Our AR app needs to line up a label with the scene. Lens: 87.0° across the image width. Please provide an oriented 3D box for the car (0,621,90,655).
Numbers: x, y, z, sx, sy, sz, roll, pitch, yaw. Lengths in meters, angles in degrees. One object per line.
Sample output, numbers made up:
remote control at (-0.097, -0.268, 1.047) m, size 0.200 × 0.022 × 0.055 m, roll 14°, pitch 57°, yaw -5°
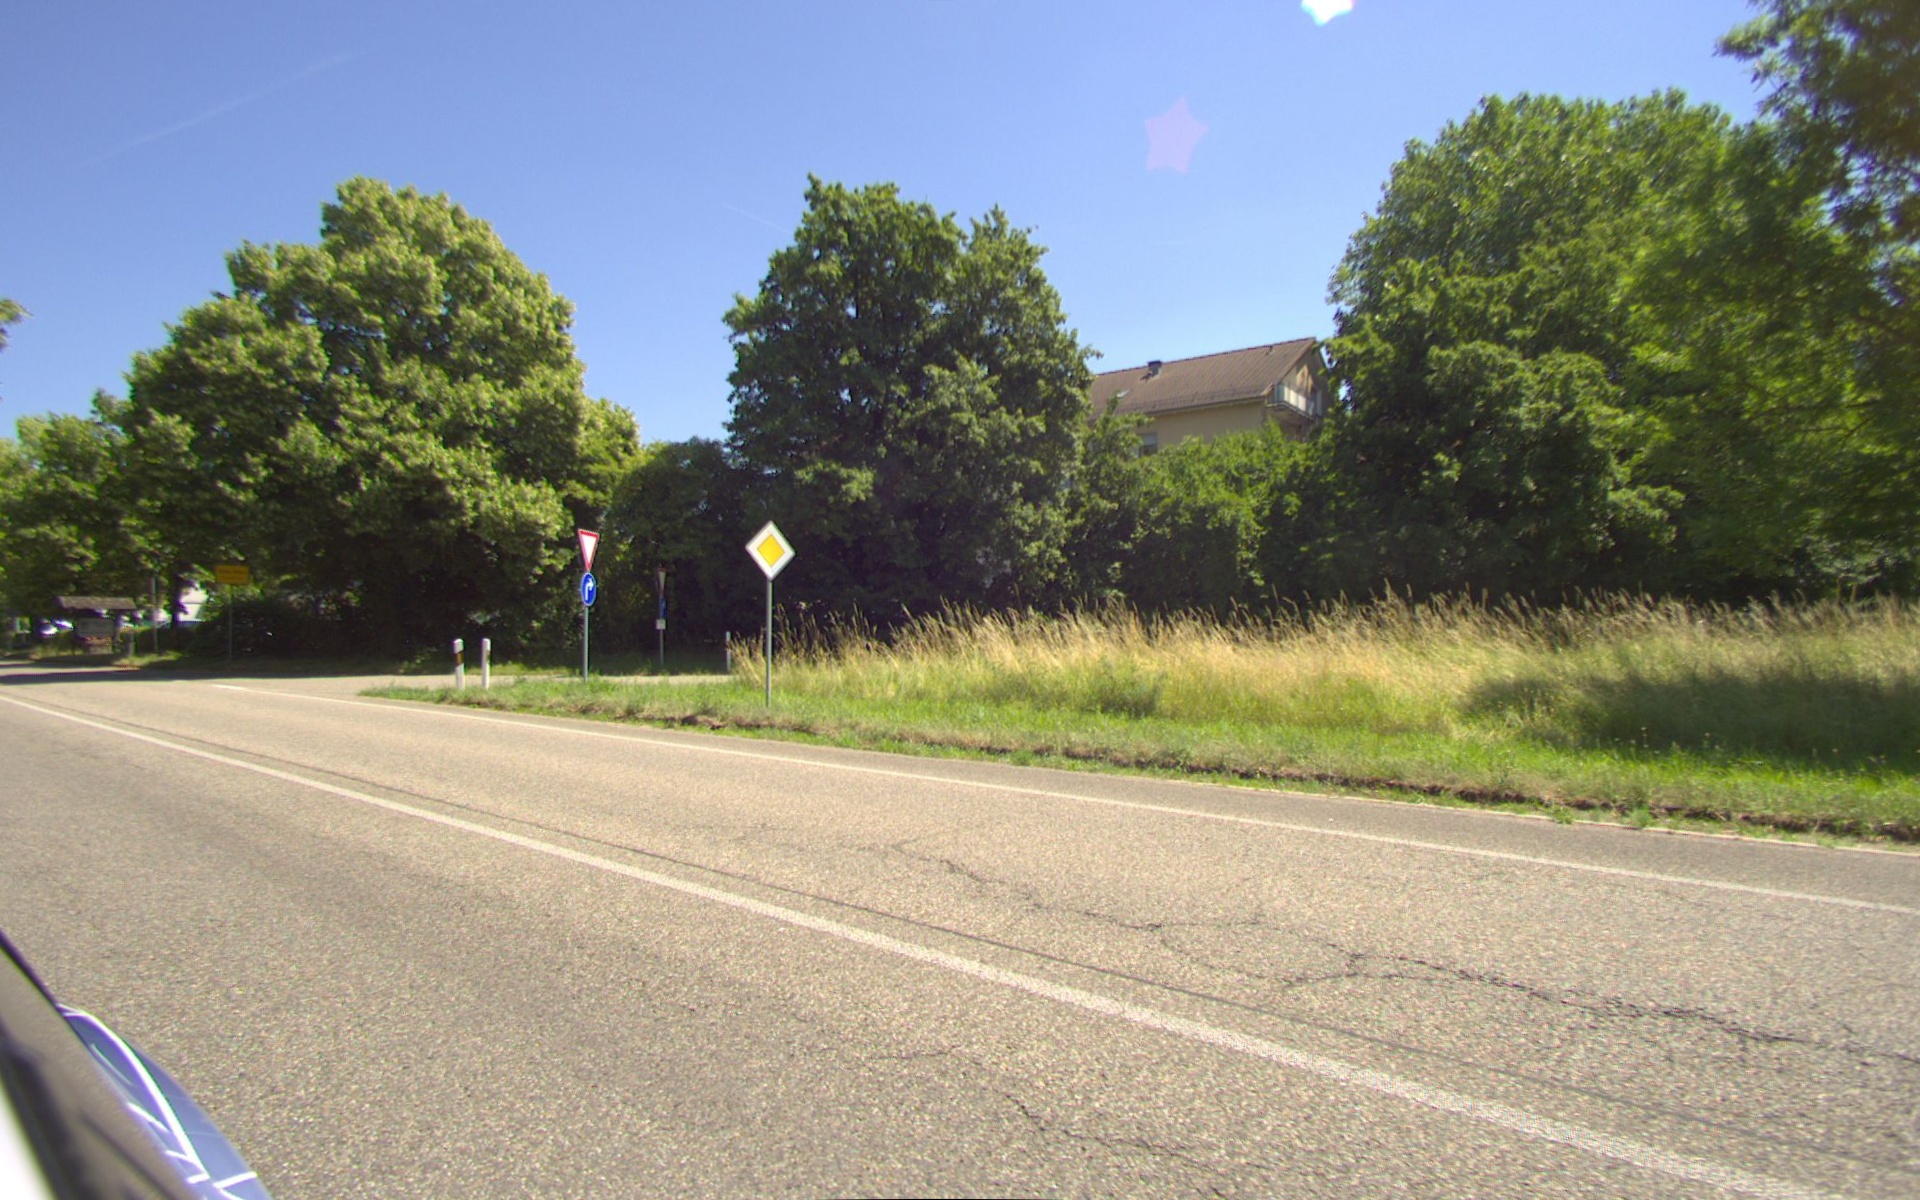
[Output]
car at (-57.809, 2.355, 63.717) m, size 1.901 × 1.995 × 4.318 m, roll -1°, pitch 0°, yaw 35°
